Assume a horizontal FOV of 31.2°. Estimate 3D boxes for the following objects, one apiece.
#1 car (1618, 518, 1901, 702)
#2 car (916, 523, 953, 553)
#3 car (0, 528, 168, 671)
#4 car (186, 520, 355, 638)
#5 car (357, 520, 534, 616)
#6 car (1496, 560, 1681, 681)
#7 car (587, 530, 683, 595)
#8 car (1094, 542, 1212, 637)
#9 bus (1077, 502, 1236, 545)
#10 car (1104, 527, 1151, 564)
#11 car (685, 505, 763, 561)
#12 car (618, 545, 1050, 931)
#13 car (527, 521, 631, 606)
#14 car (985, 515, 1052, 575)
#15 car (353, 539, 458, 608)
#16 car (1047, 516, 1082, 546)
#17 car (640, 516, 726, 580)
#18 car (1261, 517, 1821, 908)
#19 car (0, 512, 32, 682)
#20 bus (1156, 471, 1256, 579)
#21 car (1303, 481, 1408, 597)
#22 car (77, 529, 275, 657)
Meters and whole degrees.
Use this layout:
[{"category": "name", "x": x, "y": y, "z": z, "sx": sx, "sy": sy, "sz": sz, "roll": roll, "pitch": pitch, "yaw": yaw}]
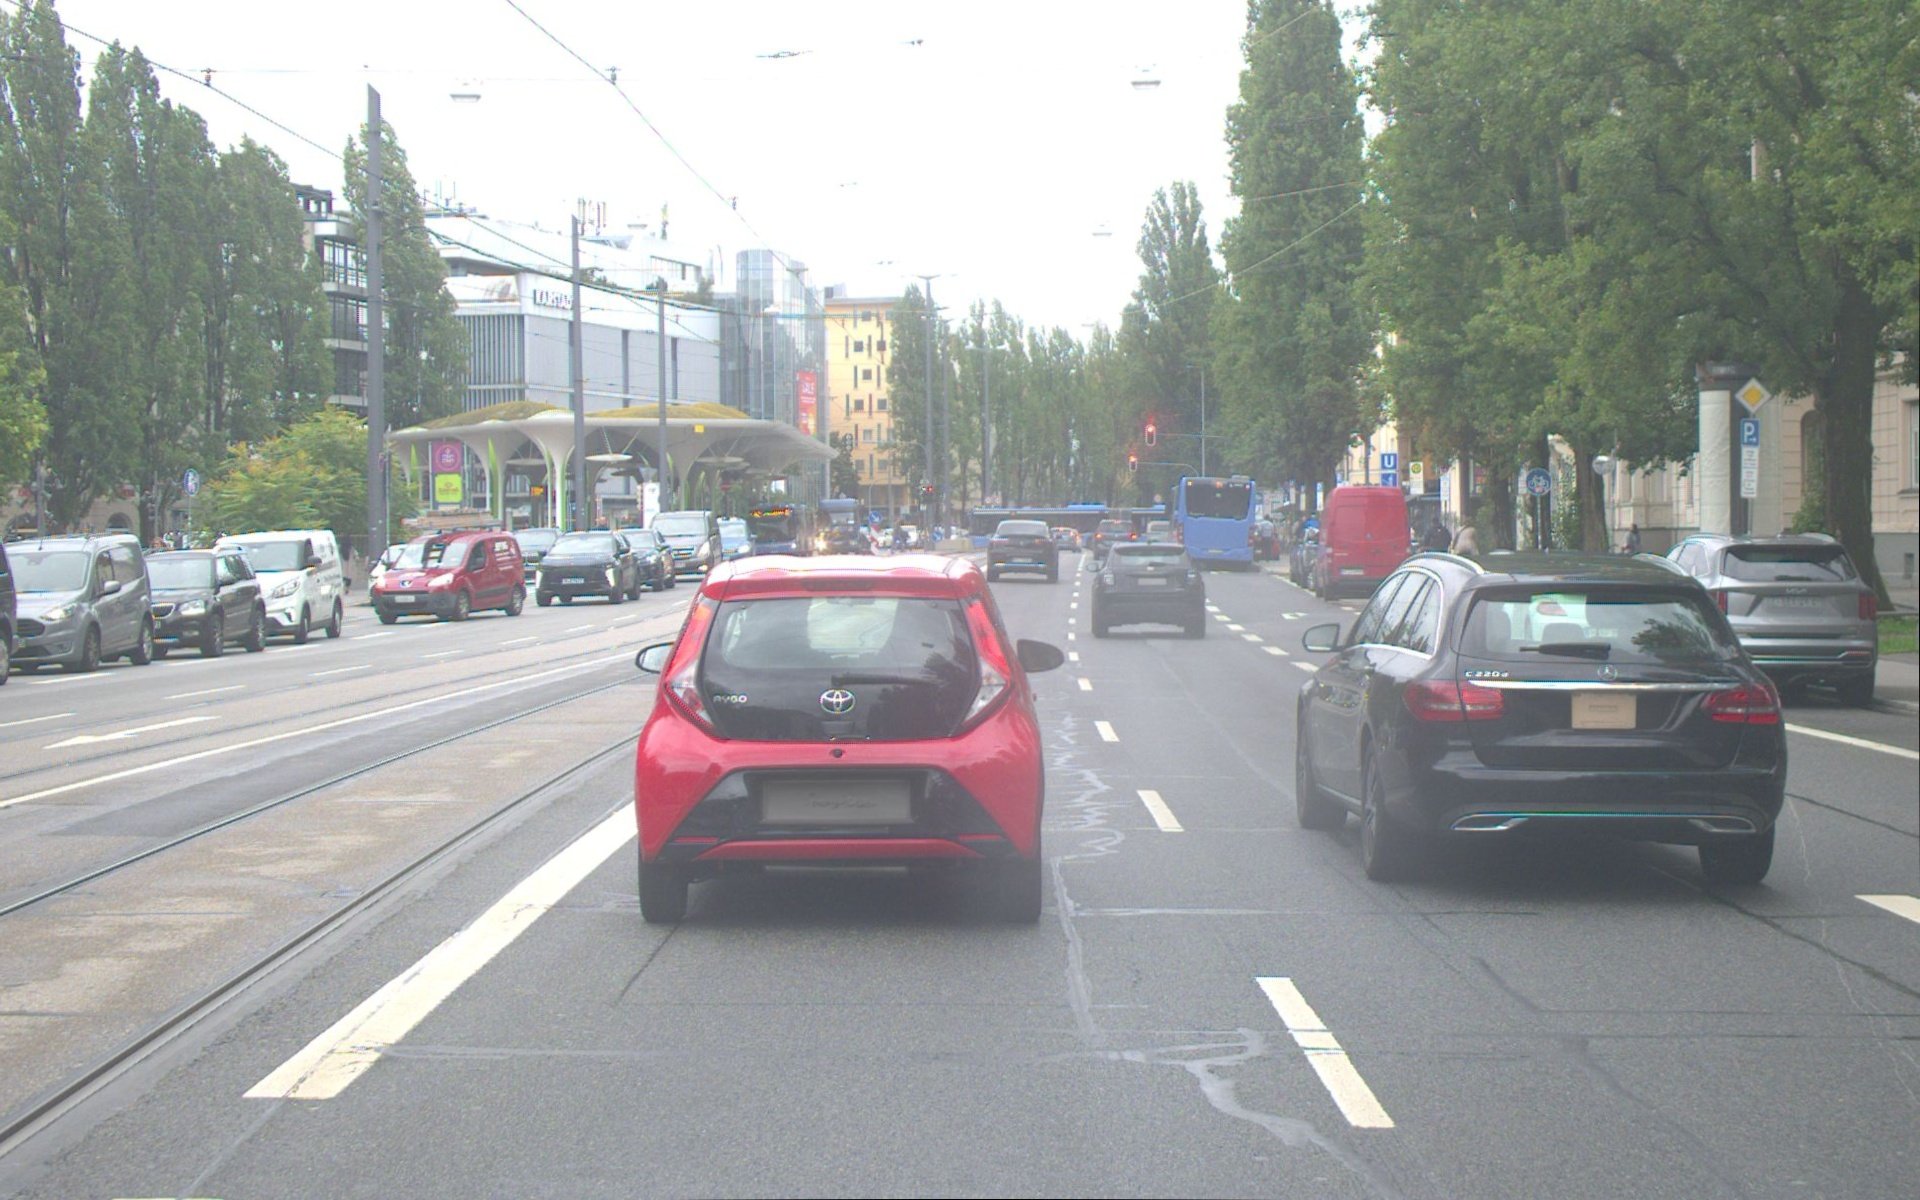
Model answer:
[{"category": "car", "x": 8.074, "y": 0.054, "z": 35.132, "sx": 1.799, "sy": 1.737, "sz": 4.701, "roll": -1, "pitch": 1, "yaw": 0}, {"category": "car", "x": -1.285, "y": -3.162, "z": 175.093, "sx": 1.781, "sy": 1.481, "sz": 4.000, "roll": 0, "pitch": 1, "yaw": 1}, {"category": "car", "x": -12.095, "y": -0.024, "z": 45.987, "sx": 1.799, "sy": 1.782, "sz": 4.519, "roll": -2, "pitch": 1, "yaw": 1}, {"category": "car", "x": -11.662, "y": -0.382, "z": 58.458, "sx": 1.799, "sy": 1.855, "sz": 4.631, "roll": -2, "pitch": 1, "yaw": 1}, {"category": "car", "x": -10.230, "y": -0.667, "z": 68.759, "sx": 1.800, "sy": 1.782, "sz": 4.516, "roll": -2, "pitch": 1, "yaw": 15}, {"category": "car", "x": 8.282, "y": 0.237, "z": 45.601, "sx": 1.799, "sy": 1.503, "sz": 4.000, "roll": 0, "pitch": 1, "yaw": 1}, {"category": "car", "x": -8.233, "y": -0.965, "z": 87.337, "sx": 1.799, "sy": 1.525, "sz": 4.519, "roll": -2, "pitch": 1, "yaw": 2}, {"category": "car", "x": 3.097, "y": -0.193, "z": 55.693, "sx": 1.781, "sy": 1.481, "sz": 4.000, "roll": 0, "pitch": 1, "yaw": 1}, {"category": "bus", "x": 13.263, "y": -5.178, "z": 232.171, "sx": 10.555, "sy": 2.836, "sz": 2.000, "roll": 0, "pitch": 3, "yaw": -2}, {"category": "car", "x": 6.747, "y": -2.197, "z": 138.488, "sx": 1.781, "sy": 1.481, "sz": 4.000, "roll": 0, "pitch": 1, "yaw": 1}, {"category": "car", "x": -7.431, "y": -2.119, "z": 108.765, "sx": 1.799, "sy": 1.659, "sz": 4.518, "roll": -2, "pitch": 1, "yaw": 4}, {"category": "car", "x": -0.514, "y": 0.501, "z": 14.763, "sx": 1.628, "sy": 1.435, "sz": 3.377, "roll": 1, "pitch": 1, "yaw": -1}, {"category": "car", "x": -8.583, "y": -0.833, "z": 77.713, "sx": 1.799, "sy": 1.782, "sz": 4.519, "roll": -2, "pitch": 1, "yaw": 0}, {"category": "car", "x": 1.569, "y": -1.475, "z": 91.857, "sx": 1.736, "sy": 1.544, "sz": 4.576, "roll": -1, "pitch": 1, "yaw": 1}, {"category": "car", "x": -13.041, "y": -0.644, "z": 81.080, "sx": 1.799, "sy": 1.525, "sz": 4.519, "roll": -2, "pitch": 1, "yaw": -1}, {"category": "car", "x": 6.156, "y": -4.061, "z": 202.408, "sx": 1.804, "sy": 1.590, "sz": 3.999, "roll": 0, "pitch": -2, "yaw": 5}, {"category": "car", "x": -7.653, "y": -1.439, "z": 95.401, "sx": 1.799, "sy": 1.659, "sz": 4.519, "roll": -2, "pitch": 1, "yaw": 2}, {"category": "car", "x": 2.590, "y": 0.406, "z": 16.453, "sx": 1.863, "sy": 1.544, "sz": 4.704, "roll": -1, "pitch": 2, "yaw": 0}, {"category": "car", "x": -12.170, "y": 0.000, "z": 38.973, "sx": 1.799, "sy": 1.984, "sz": 5.039, "roll": -1, "pitch": 1, "yaw": 1}, {"category": "bus", "x": 8.325, "y": -2.661, "z": 117.466, "sx": 2.906, "sy": 3.384, "sz": 10.807, "roll": 0, "pitch": 3, "yaw": 1}, {"category": "car", "x": 9.181, "y": -1.462, "z": 80.103, "sx": 1.993, "sy": 2.565, "sz": 4.680, "roll": 0, "pitch": 3, "yaw": 1}, {"category": "car", "x": -11.807, "y": -0.145, "z": 52.048, "sx": 1.799, "sy": 1.782, "sz": 4.519, "roll": -2, "pitch": 1, "yaw": 1}]
